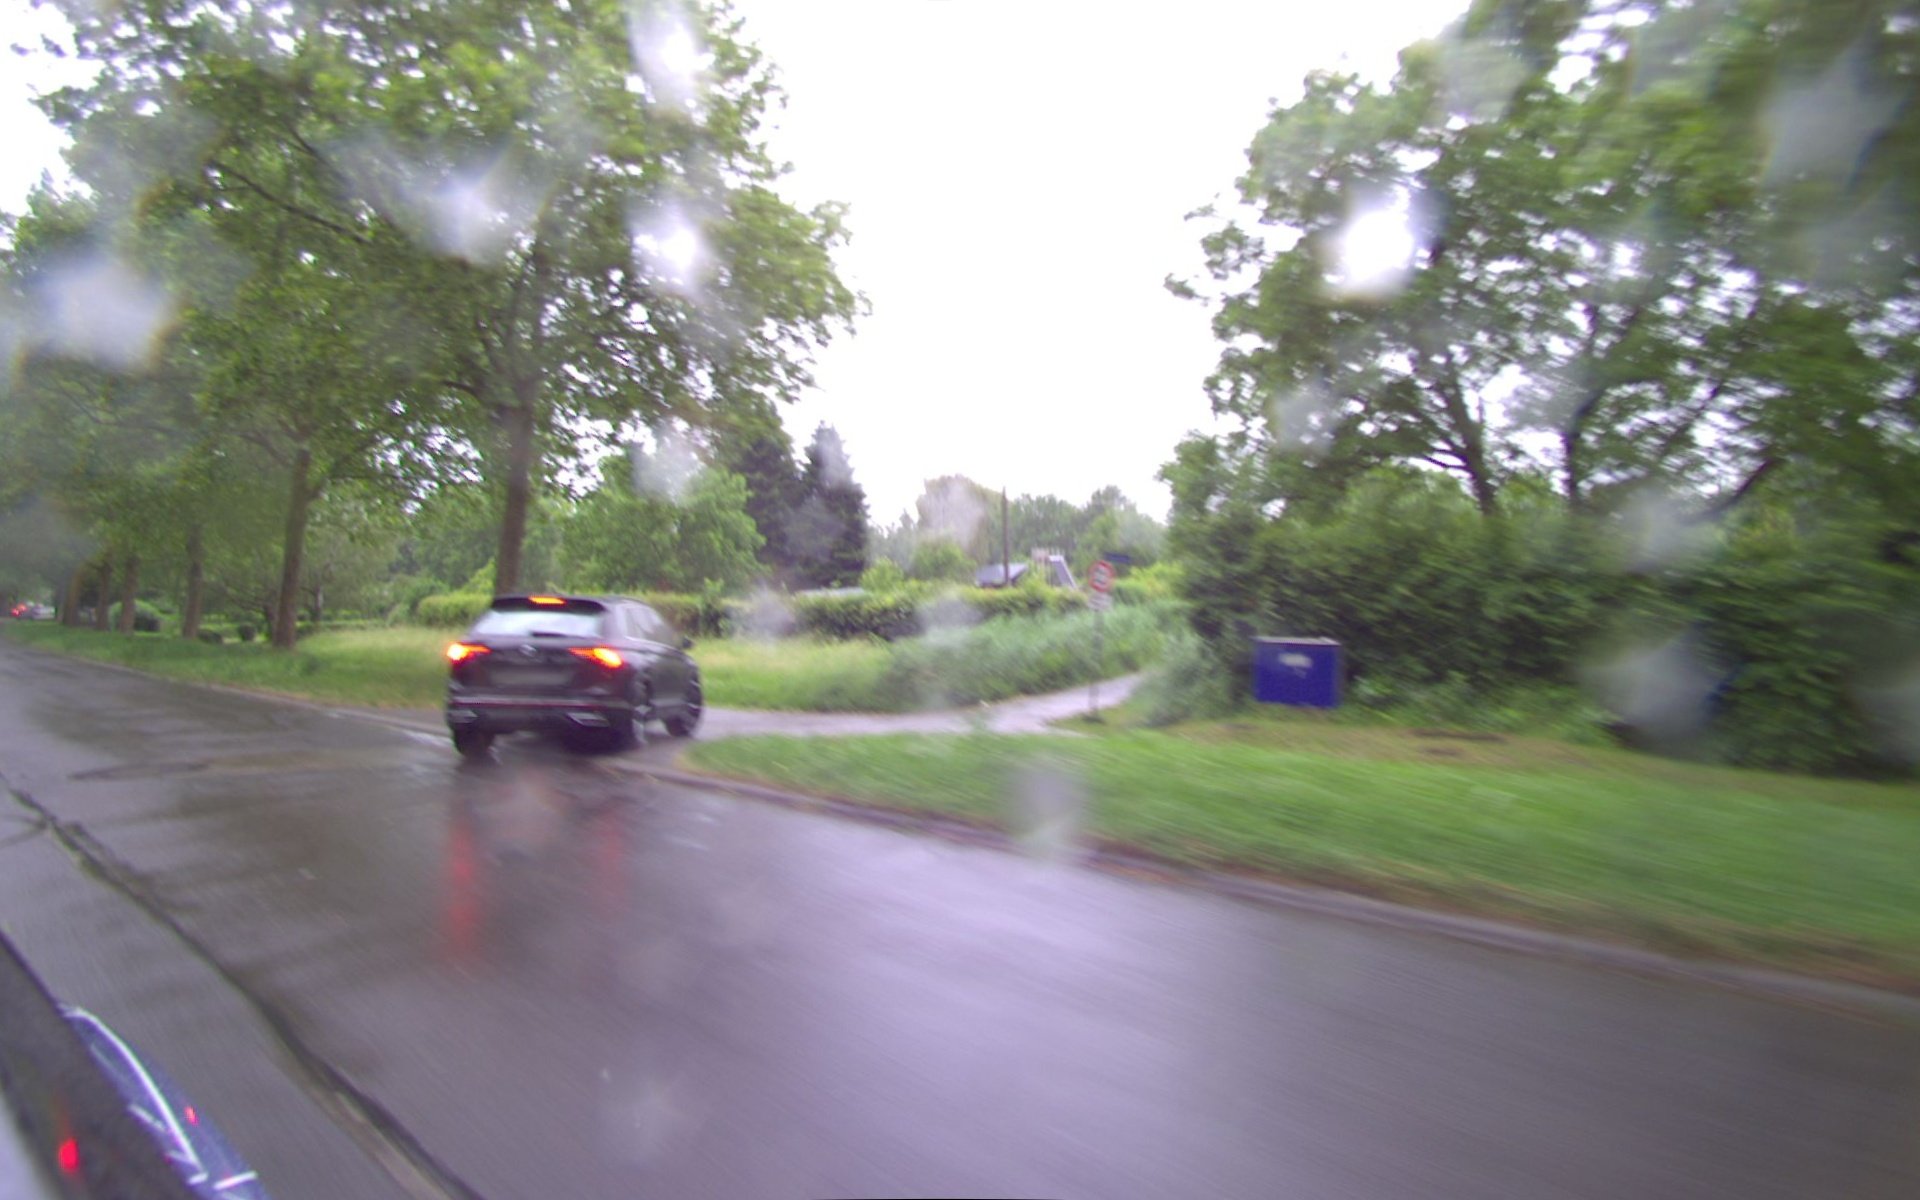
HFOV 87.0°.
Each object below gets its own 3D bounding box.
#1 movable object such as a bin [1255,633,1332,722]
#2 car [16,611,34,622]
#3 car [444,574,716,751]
[{"bbox_3d":[5.833,1.329,17.688,0.965,1.433,0.953,-1,1,40],"label":"movable object such as a bin"},{"bbox_3d":[-143.299,2.513,155.053,1.841,1.763,5.019,1,-1,-44],"label":"car"},{"bbox_3d":[-3.985,0.738,11.424,1.711,1.600,4.313,-1,-5,-4],"label":"car"}]
